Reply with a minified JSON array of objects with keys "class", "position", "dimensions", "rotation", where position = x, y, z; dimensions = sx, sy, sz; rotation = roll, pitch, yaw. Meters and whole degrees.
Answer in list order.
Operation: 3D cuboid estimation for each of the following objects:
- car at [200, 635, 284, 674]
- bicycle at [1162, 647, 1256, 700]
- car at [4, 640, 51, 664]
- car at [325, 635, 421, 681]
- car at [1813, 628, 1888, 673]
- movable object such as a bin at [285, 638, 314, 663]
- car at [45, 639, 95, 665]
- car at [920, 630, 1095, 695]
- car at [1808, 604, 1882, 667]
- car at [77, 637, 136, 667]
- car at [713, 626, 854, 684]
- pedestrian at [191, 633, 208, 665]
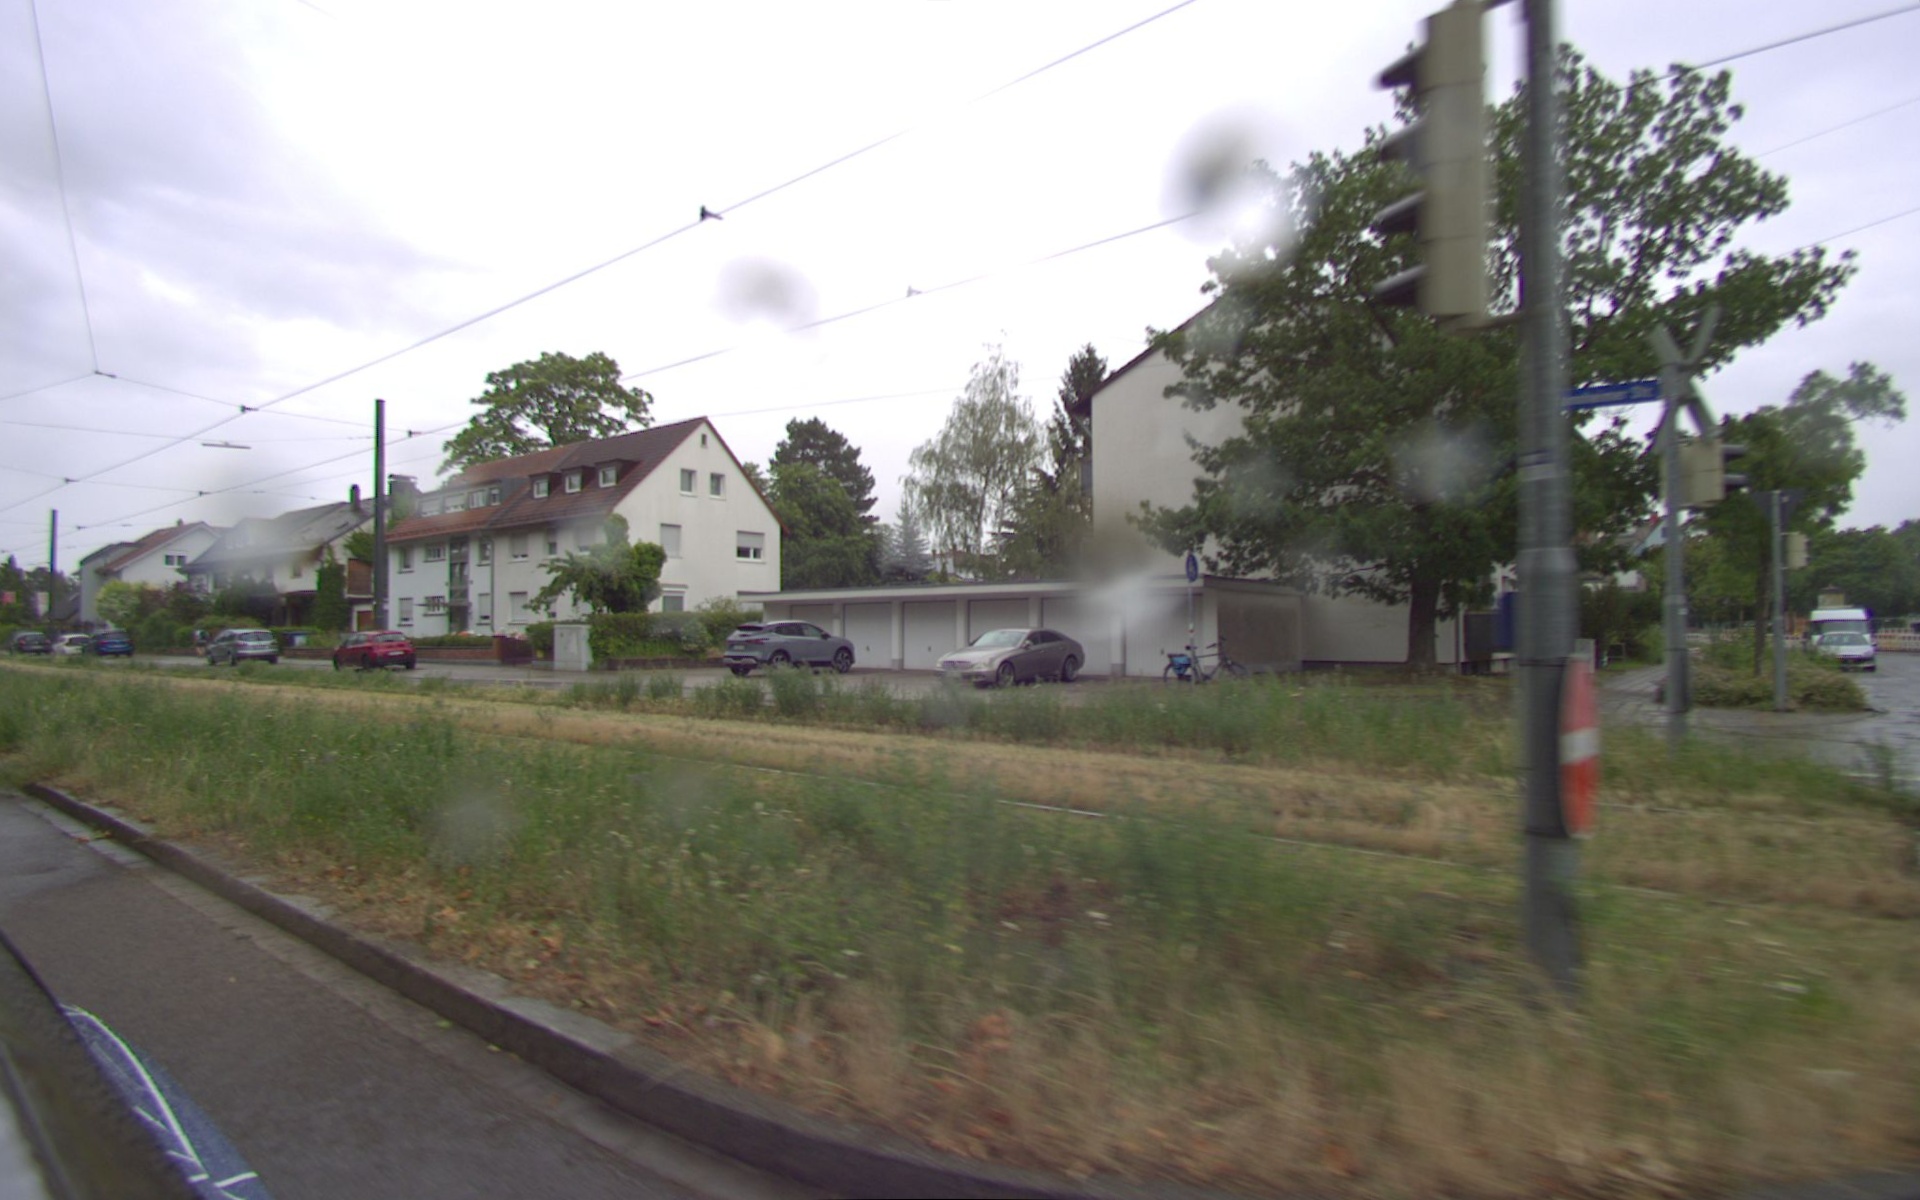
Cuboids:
[{"class":"car","position":[-32.914,2.476,46.365],"dimensions":[4.678,1.626,1.974],"rotation":[-2,-1,39]},{"class":"bicycle","position":[5.093,1.508,20.751],"dimensions":[1.824,1.027,0.480],"rotation":[-2,1,14]},{"class":"car","position":[-66.400,3.686,72.052],"dimensions":[4.104,1.626,1.738],"rotation":[-2,0,38]},{"class":"car","position":[-22.190,2.141,38.195],"dimensions":[3.968,1.558,1.824],"rotation":[-2,0,39]},{"class":"car","position":[32.464,1.828,36.961],"dimensions":[1.750,1.542,3.583],"rotation":[-2,-3,37]},{"class":"movable object such as a bin","position":[-36.489,2.776,55.875],"dimensions":[0.738,1.308,1.173],"rotation":[-2,-1,39]},{"class":"car","position":[-57.232,3.349,65.054],"dimensions":[3.595,1.540,1.698],"rotation":[-2,0,37]},{"class":"car","position":[1.267,1.474,24.928],"dimensions":[1.847,1.376,4.677],"rotation":[-2,-2,40]},{"class":"car","position":[36.457,1.498,41.775],"dimensions":[1.915,2.465,4.414],"rotation":[-2,-3,37]},{"class":"car","position":[-51.497,3.104,61.030],"dimensions":[4.175,1.719,1.827],"rotation":[-2,-1,37]},{"class":"car","position":[-5.180,1.589,30.092],"dimensions":[1.889,1.588,3.950],"rotation":[-2,-3,37]},{"class":"pedestrian","position":[-43.242,2.781,57.548],"dimensions":[0.868,1.781,0.592],"rotation":[-2,-2,38]}]
